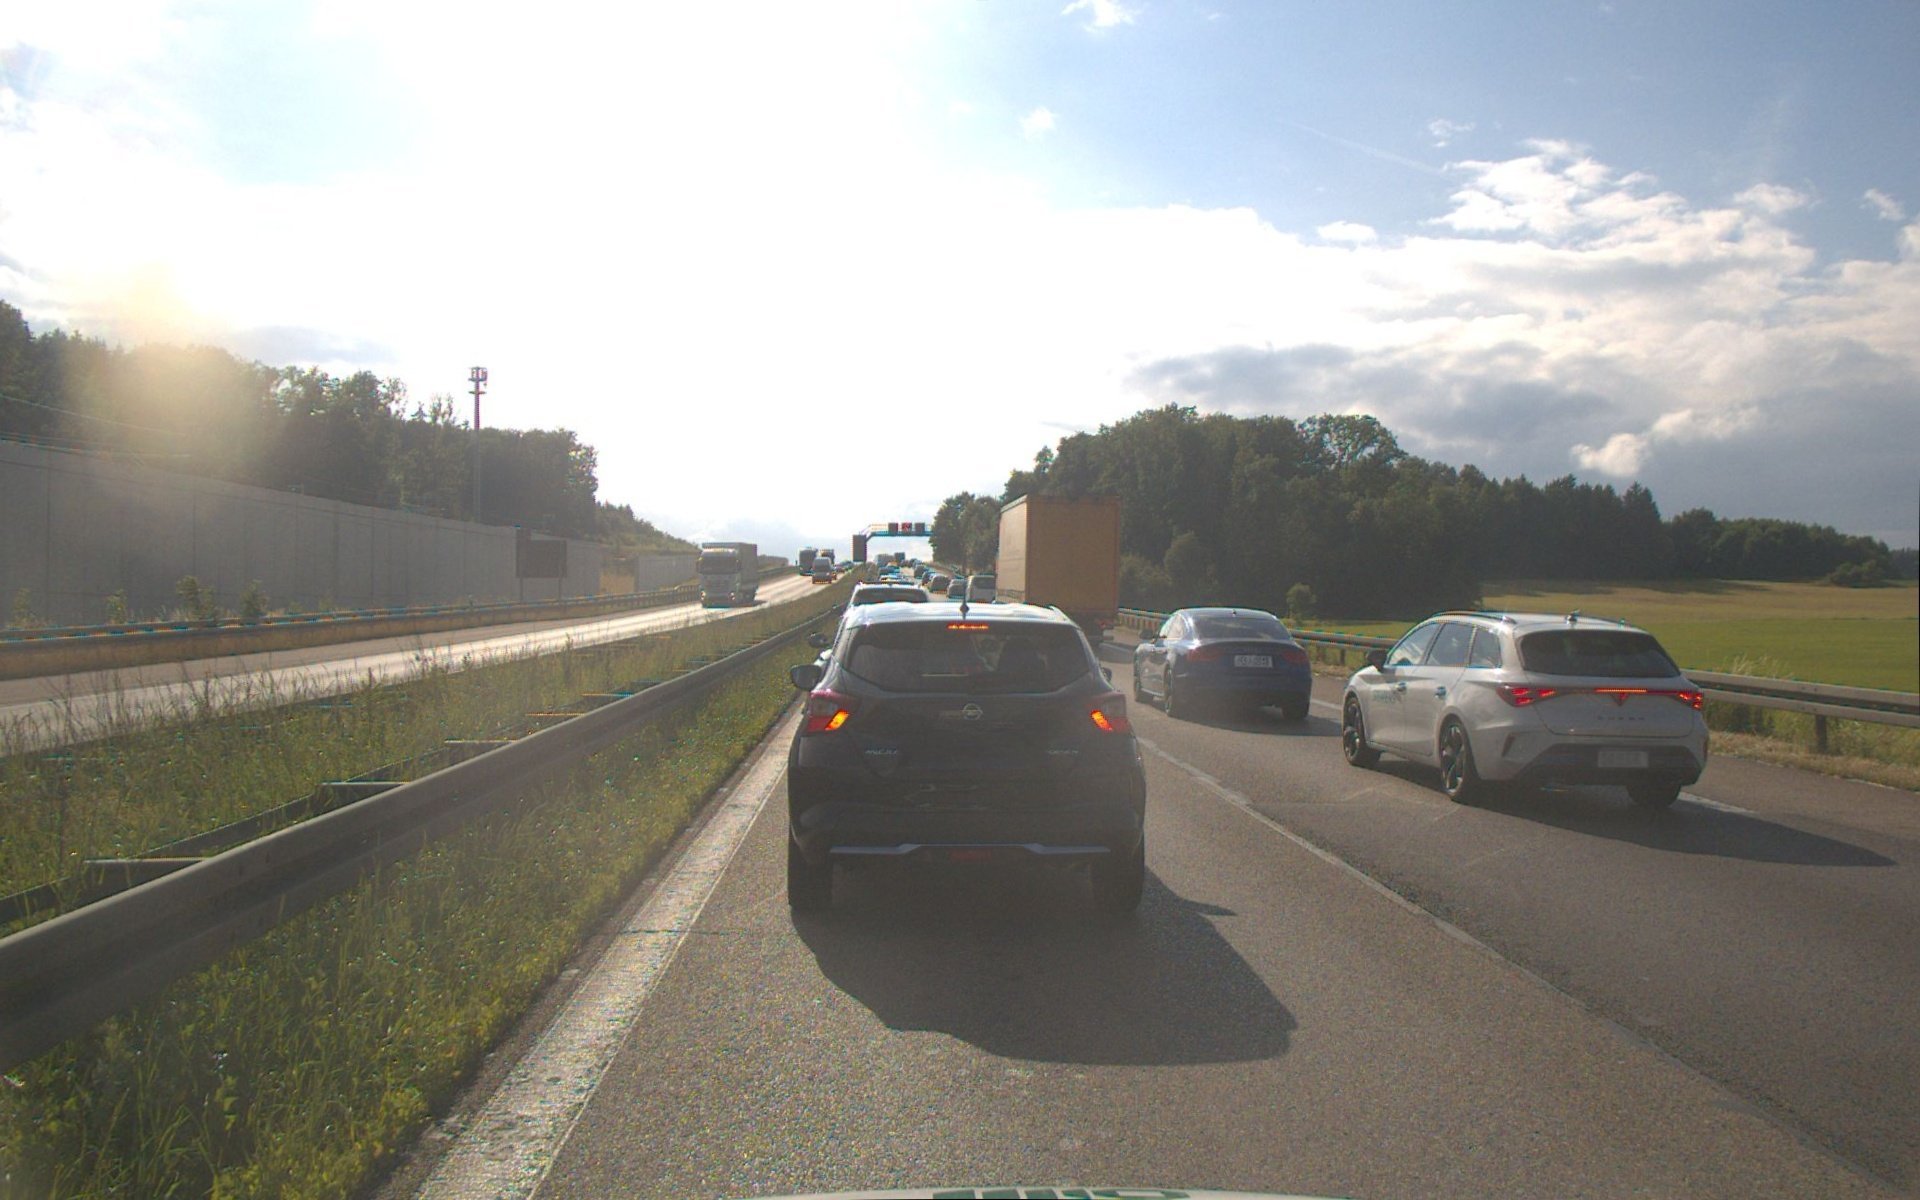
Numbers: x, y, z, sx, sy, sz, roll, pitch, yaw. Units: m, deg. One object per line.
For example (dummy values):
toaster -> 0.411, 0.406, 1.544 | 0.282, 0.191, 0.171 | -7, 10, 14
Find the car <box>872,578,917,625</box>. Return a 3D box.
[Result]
car -> -3.016, 0.077, 75.734 | 1.954, 2.049, 3.997 | 1, 0, -3

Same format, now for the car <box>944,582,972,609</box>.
car -> -0.194, -0.341, 129.026 | 1.954, 2.049, 3.997 | 1, 0, -3

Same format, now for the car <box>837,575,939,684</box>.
car -> -1.223, 0.489, 28.860 | 1.640, 1.756, 3.595 | 1, 0, -1

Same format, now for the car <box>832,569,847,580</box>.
car -> -18.182, -3.871, 249.666 | 1.953, 1.512, 4.397 | 1, 0, -1

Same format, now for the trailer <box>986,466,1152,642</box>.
trailer -> 2.970, -1.177, 49.689 | 3.478, 4.535, 12.714 | 1, 0, -3

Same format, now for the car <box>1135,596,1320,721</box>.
car -> 3.475, 0.729, 22.220 | 1.712, 1.501, 4.145 | 1, 0, -1

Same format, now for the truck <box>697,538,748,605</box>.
truck -> -15.585, -1.811, 109.000 | 2.585, 4.169, 6.998 | 1, 0, -3

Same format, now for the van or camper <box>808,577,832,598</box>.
van or camper -> -15.360, -1.328, 181.939 | 2.122, 2.244, 6.257 | 1, 0, -1

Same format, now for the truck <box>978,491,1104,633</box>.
truck -> 2.613, -1.207, 55.971 | 3.511, 4.456, 6.684 | 1, 0, -3

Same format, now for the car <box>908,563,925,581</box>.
car -> -5.388, -3.474, 206.091 | 1.954, 2.049, 3.997 | 1, 0, -3

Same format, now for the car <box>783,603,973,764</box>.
car -> -0.761, 0.740, 16.299 | 1.640, 1.391, 3.595 | 1, 0, -1

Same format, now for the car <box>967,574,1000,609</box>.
car -> 1.252, -0.456, 87.849 | 1.633, 1.785, 3.326 | 1, 0, -1

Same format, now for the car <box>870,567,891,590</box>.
car -> -7.635, -2.028, 157.967 | 1.954, 2.049, 3.997 | 1, 0, -3

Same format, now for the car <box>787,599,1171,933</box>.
car -> 0.063, 0.742, 8.979 | 1.675, 1.451, 3.377 | 1, 0, -1

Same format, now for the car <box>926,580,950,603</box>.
car -> -1.979, -0.740, 146.908 | 1.954, 2.049, 3.997 | 1, 0, -3

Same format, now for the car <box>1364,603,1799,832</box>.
car -> 4.557, 0.776, 12.826 | 1.588, 1.471, 4.143 | 1, 0, -4

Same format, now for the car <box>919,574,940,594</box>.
car -> -3.152, -1.628, 171.194 | 1.954, 2.049, 3.997 | 1, 0, -3
